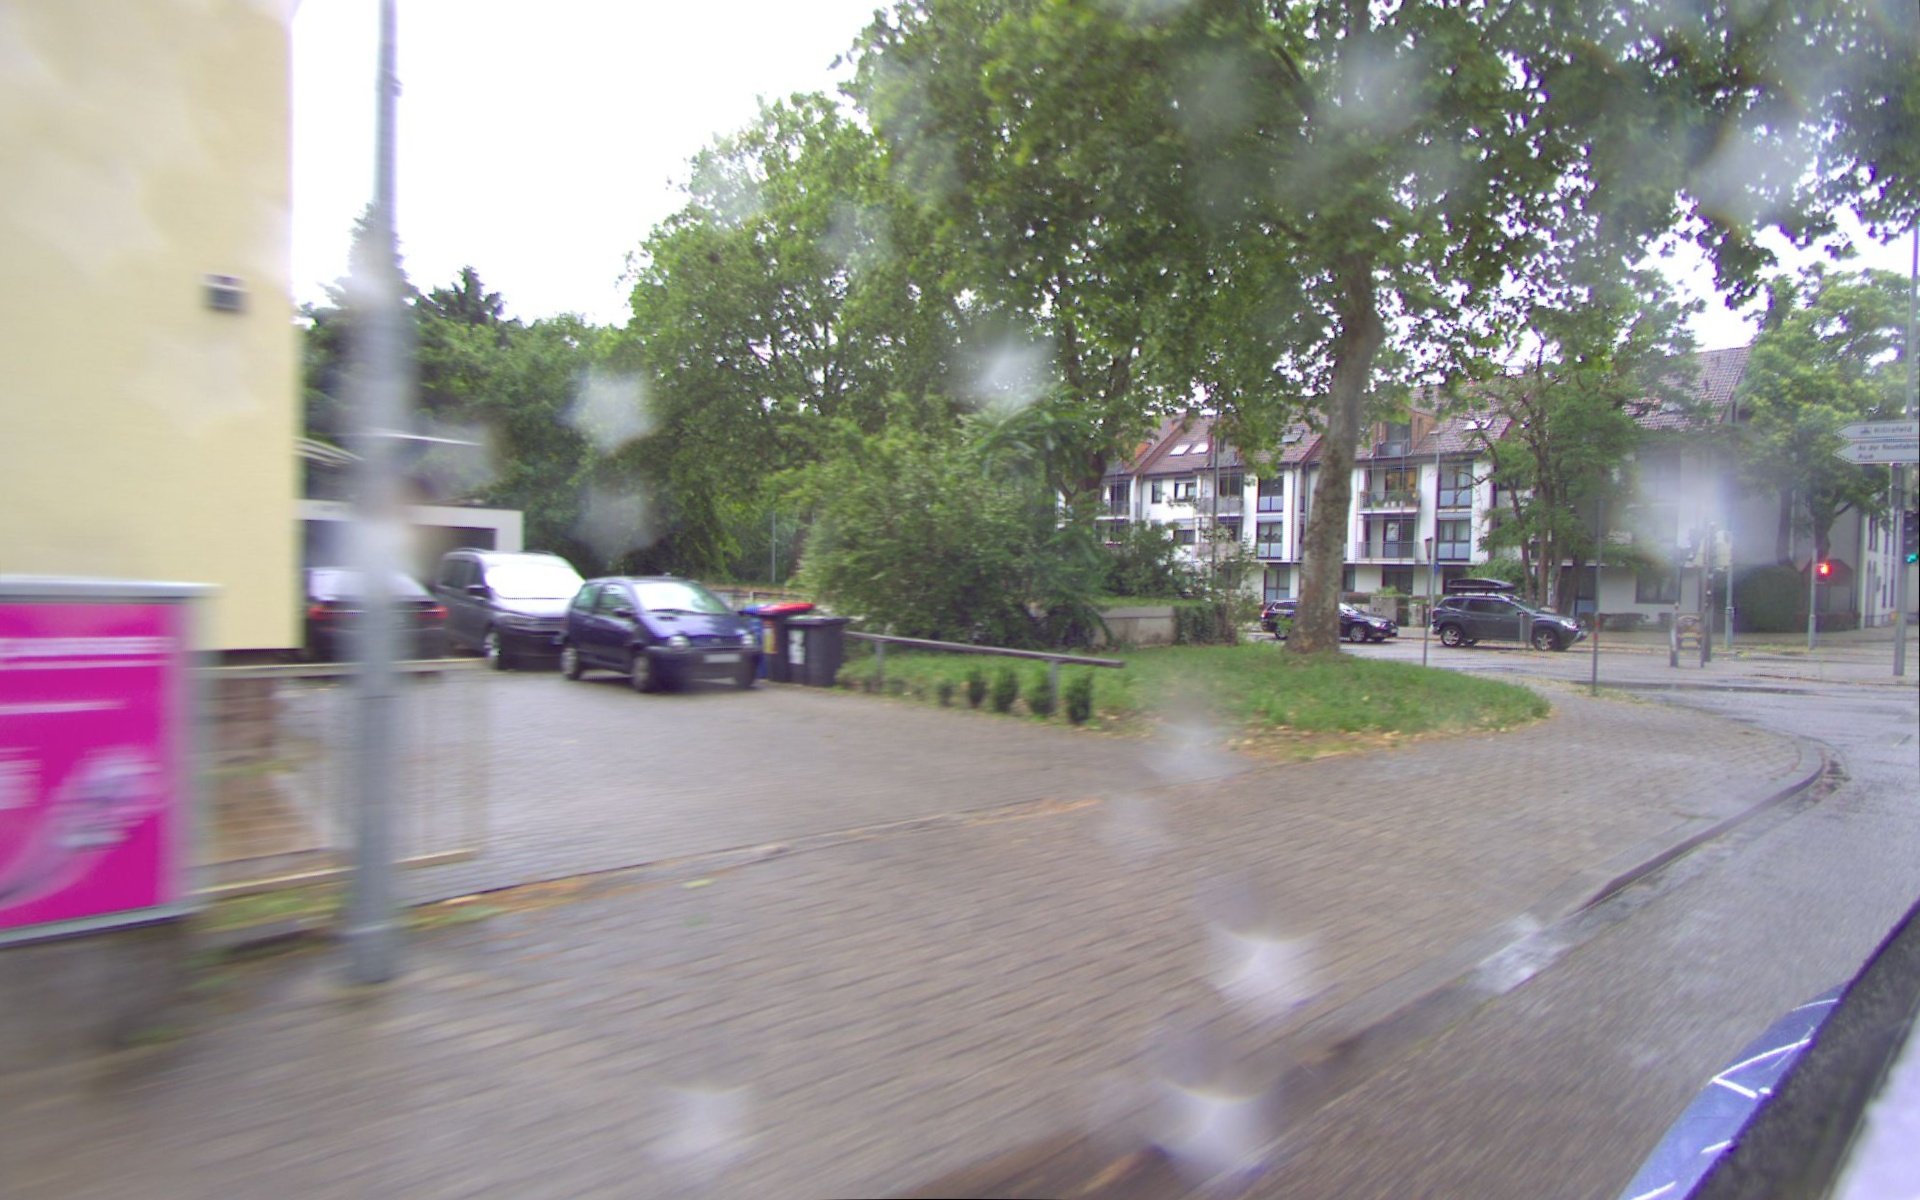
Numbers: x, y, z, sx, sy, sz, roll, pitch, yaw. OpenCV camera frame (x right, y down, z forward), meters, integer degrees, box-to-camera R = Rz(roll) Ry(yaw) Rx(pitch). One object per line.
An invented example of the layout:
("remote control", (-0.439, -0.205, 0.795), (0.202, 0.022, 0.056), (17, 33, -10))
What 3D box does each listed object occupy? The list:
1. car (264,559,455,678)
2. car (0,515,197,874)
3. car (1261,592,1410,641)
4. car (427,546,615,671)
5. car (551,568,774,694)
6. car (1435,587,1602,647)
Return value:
("car", (-8.917, 0.207, 14.916), (1.816, 1.529, 3.520), (1, 1, -41))
("car", (-5.329, 0.384, 4.162), (3.462, 1.489, 1.673), (0, 1, -39))
("car", (12.938, 0.531, 35.049), (4.611, 1.464, 1.586), (1, 3, 45))
("car", (-7.442, 0.031, 16.911), (1.646, 1.817, 4.351), (0, 2, -41))
("car", (-4.069, 0.315, 13.581), (1.646, 1.464, 3.337), (-1, 1, -41))
("car", (17.050, 0.454, 31.043), (4.216, 1.708, 1.683), (1, 1, 45))
